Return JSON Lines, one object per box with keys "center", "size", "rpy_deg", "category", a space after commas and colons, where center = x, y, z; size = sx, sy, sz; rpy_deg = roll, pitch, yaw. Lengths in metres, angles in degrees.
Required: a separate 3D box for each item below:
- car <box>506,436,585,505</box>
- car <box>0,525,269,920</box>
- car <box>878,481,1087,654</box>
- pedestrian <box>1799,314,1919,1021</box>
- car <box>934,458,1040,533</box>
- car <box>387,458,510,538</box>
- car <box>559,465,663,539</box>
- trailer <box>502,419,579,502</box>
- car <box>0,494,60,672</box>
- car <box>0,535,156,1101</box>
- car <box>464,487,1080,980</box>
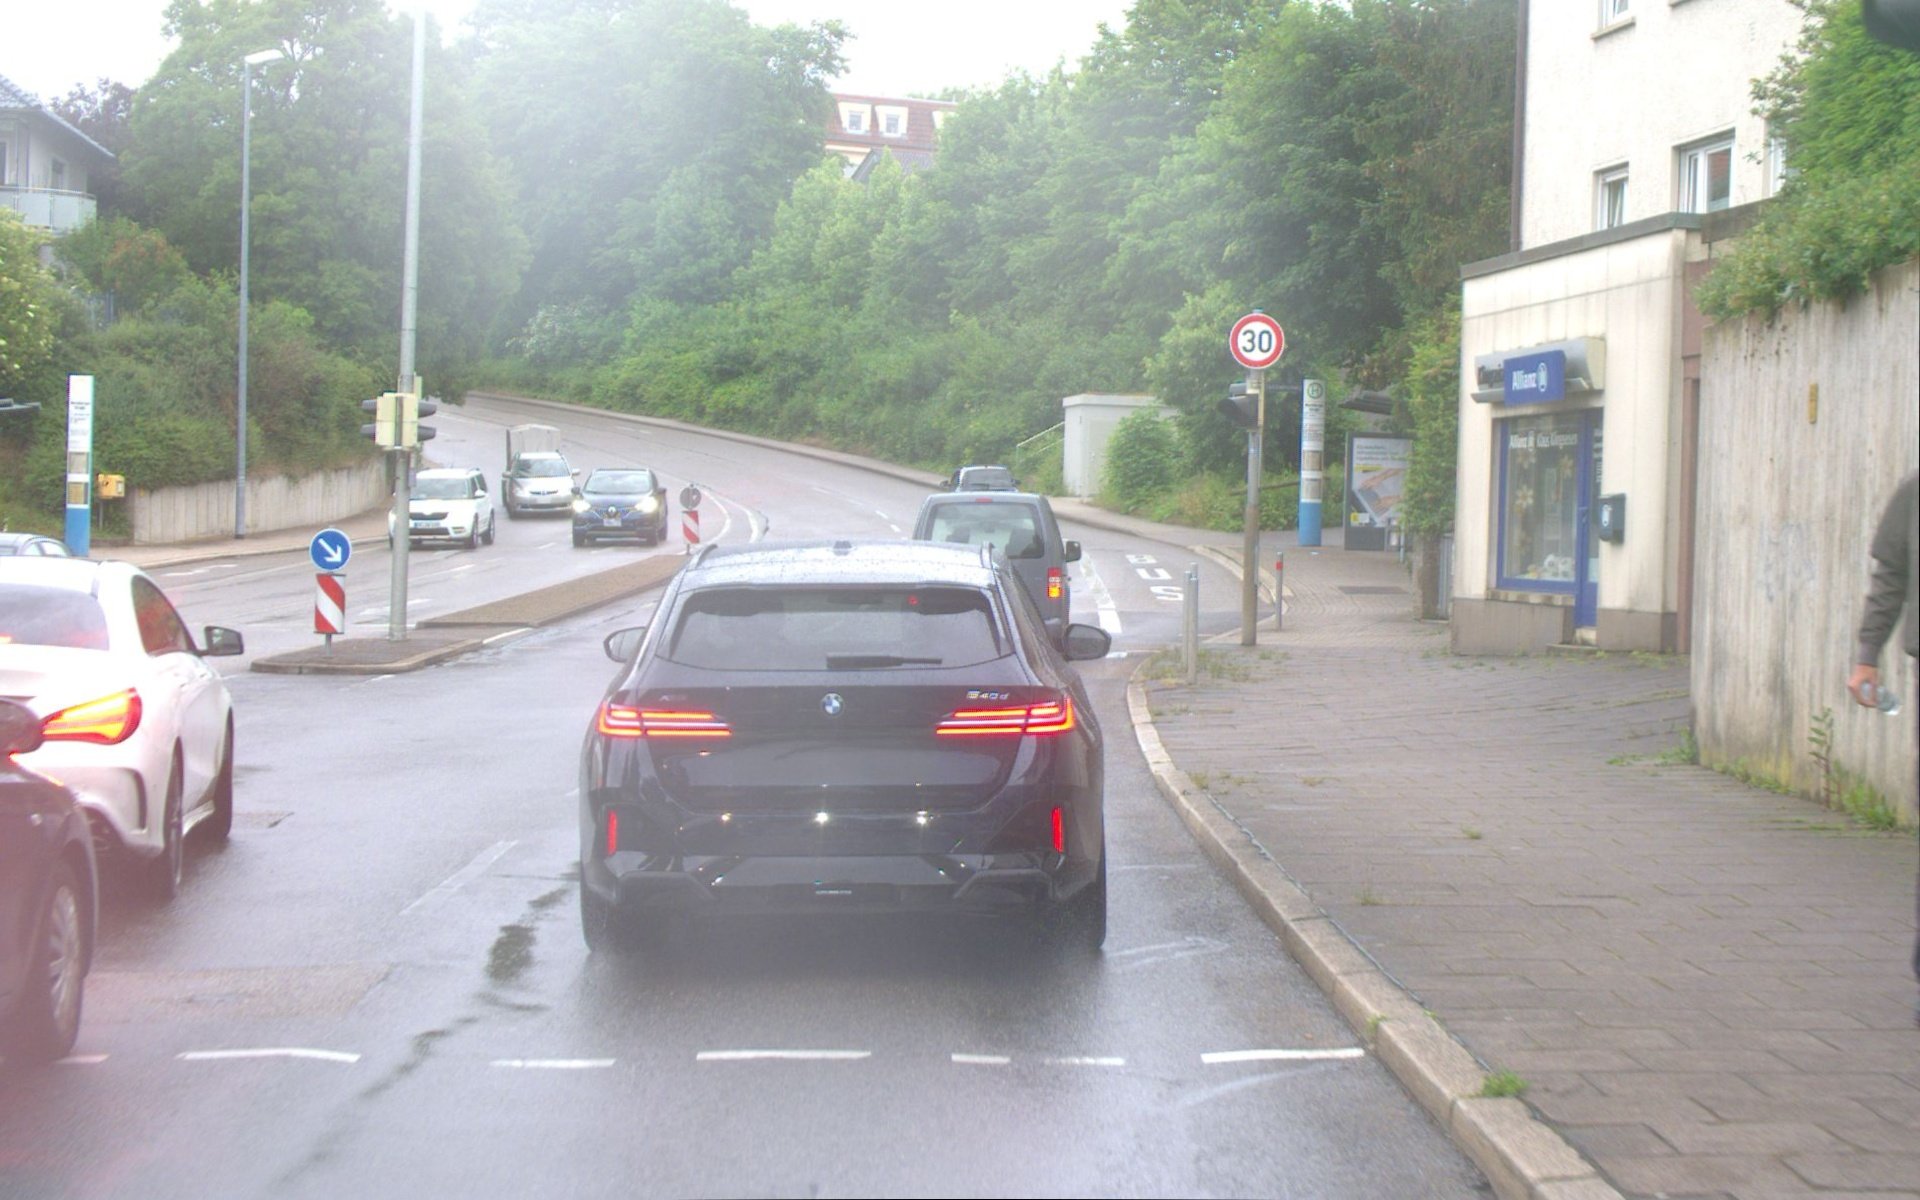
{"center": [-10.686, -3.351, 88.481], "size": [1.899, 1.677, 4.481], "rpy_deg": [0, 3, -8], "category": "car"}
{"center": [-4.314, 0.429, 15.518], "size": [1.908, 1.523, 4.653], "rpy_deg": [1, 1, -6], "category": "car"}
{"center": [0.175, -0.364, 36.618], "size": [1.993, 1.742, 4.001], "rpy_deg": [0, 1, -3], "category": "car"}
{"center": [2.985, 0.193, 10.140], "size": [0.797, 2.007, 0.734], "rpy_deg": [1, 1, -1], "category": "pedestrian"}
{"center": [0.607, -2.499, 81.715], "size": [1.851, 1.656, 4.002], "rpy_deg": [1, 2, -9], "category": "car"}
{"center": [-10.801, -2.150, 72.908], "size": [1.823, 1.651, 4.466], "rpy_deg": [0, 1, 2], "category": "car"}
{"center": [-7.487, -2.102, 74.054], "size": [1.841, 1.546, 4.384], "rpy_deg": [0, 1, 0], "category": "car"}
{"center": [-11.339, -3.756, 92.740], "size": [1.895, 2.171, 4.037], "rpy_deg": [0, 2, -9], "category": "trailer"}
{"center": [-9.577, -0.171, 32.007], "size": [1.993, 1.568, 4.001], "rpy_deg": [0, 1, -10], "category": "car"}
{"center": [-3.421, 0.566, 8.783], "size": [1.835, 1.482, 4.059], "rpy_deg": [1, 1, -1], "category": "car"}
{"center": [-0.711, 0.450, 13.694], "size": [1.993, 1.581, 4.663], "rpy_deg": [2, 0, -2], "category": "car"}
